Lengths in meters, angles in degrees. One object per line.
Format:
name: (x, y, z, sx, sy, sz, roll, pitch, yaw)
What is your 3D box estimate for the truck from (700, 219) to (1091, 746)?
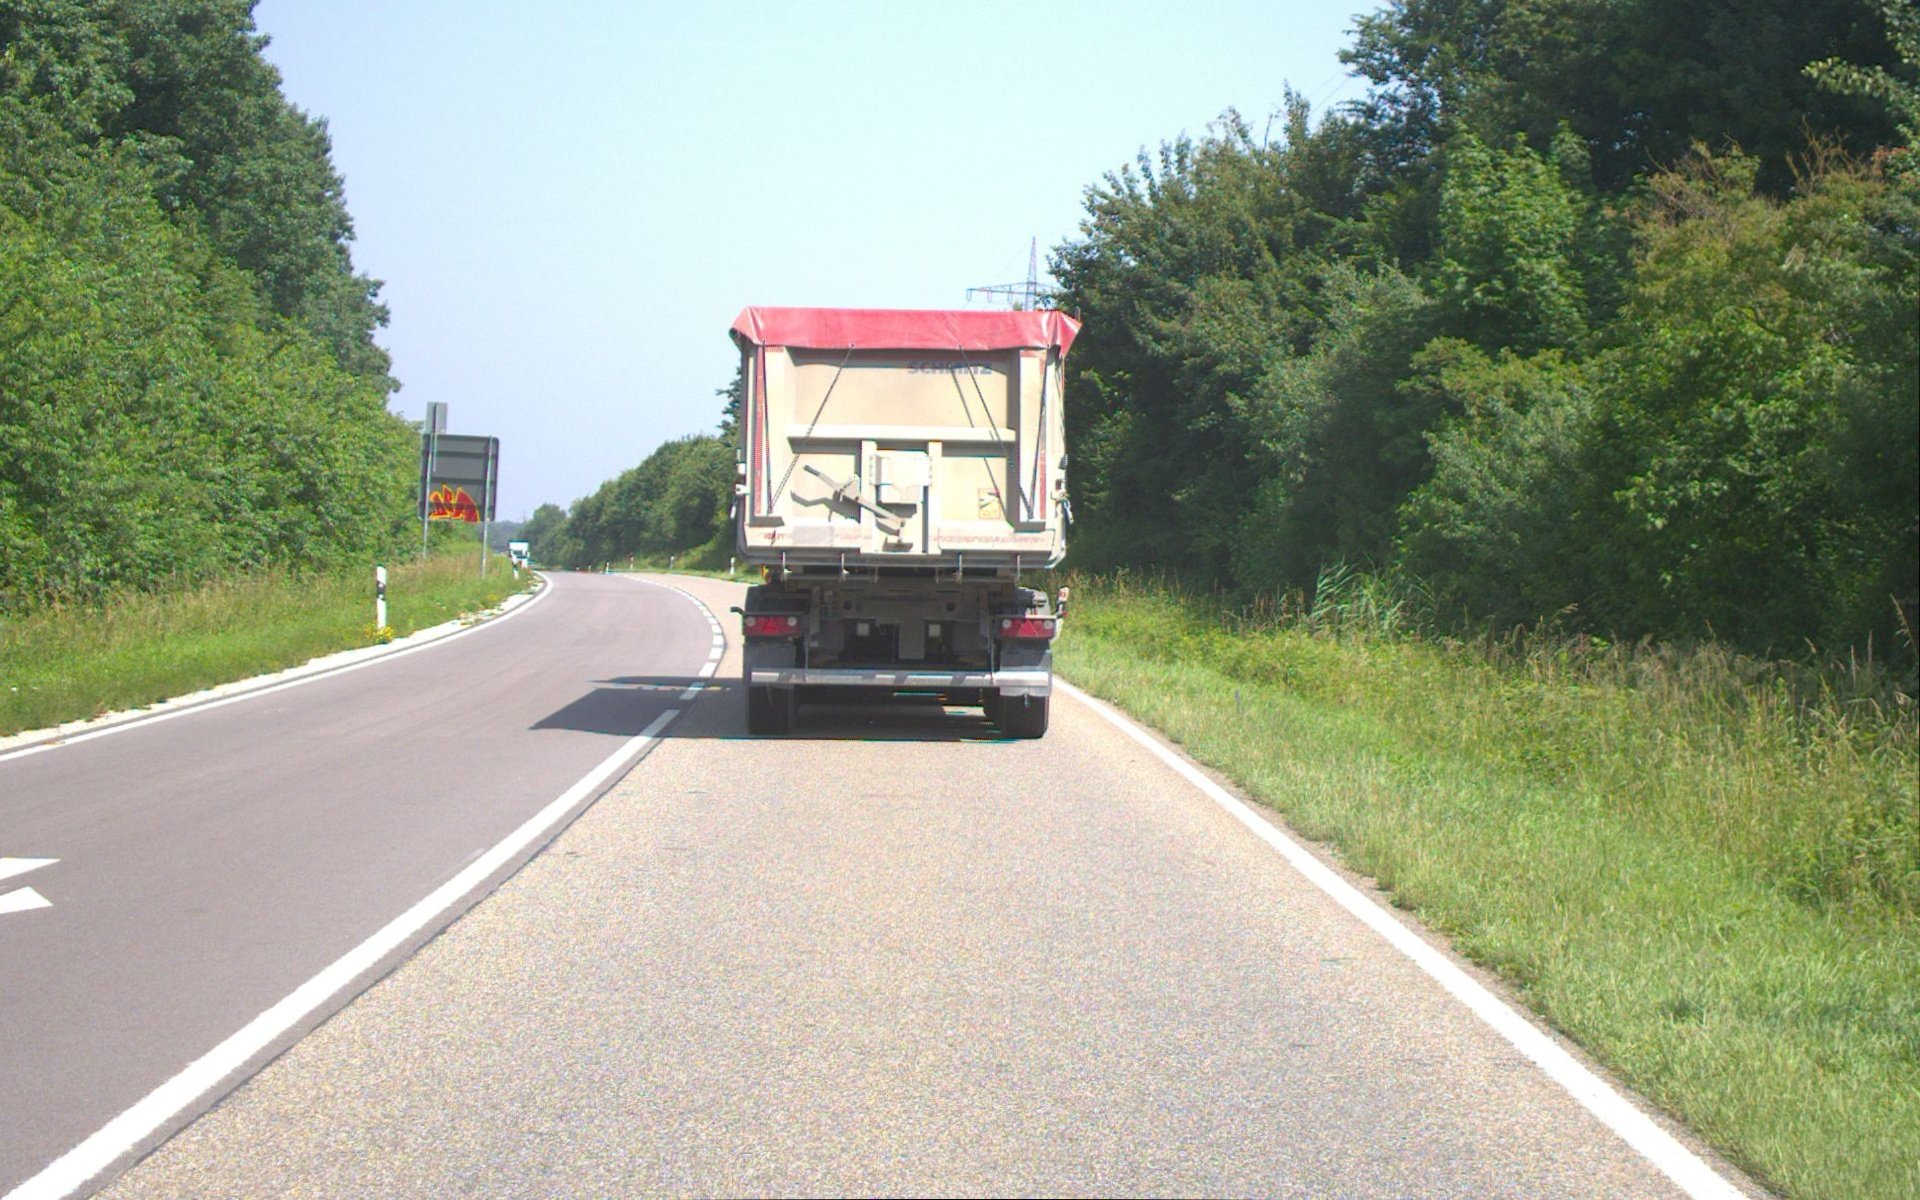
truck: (-0.701, -0.994, 32.083, 2.893, 3.949, 11.934, 1, 1, -2)
